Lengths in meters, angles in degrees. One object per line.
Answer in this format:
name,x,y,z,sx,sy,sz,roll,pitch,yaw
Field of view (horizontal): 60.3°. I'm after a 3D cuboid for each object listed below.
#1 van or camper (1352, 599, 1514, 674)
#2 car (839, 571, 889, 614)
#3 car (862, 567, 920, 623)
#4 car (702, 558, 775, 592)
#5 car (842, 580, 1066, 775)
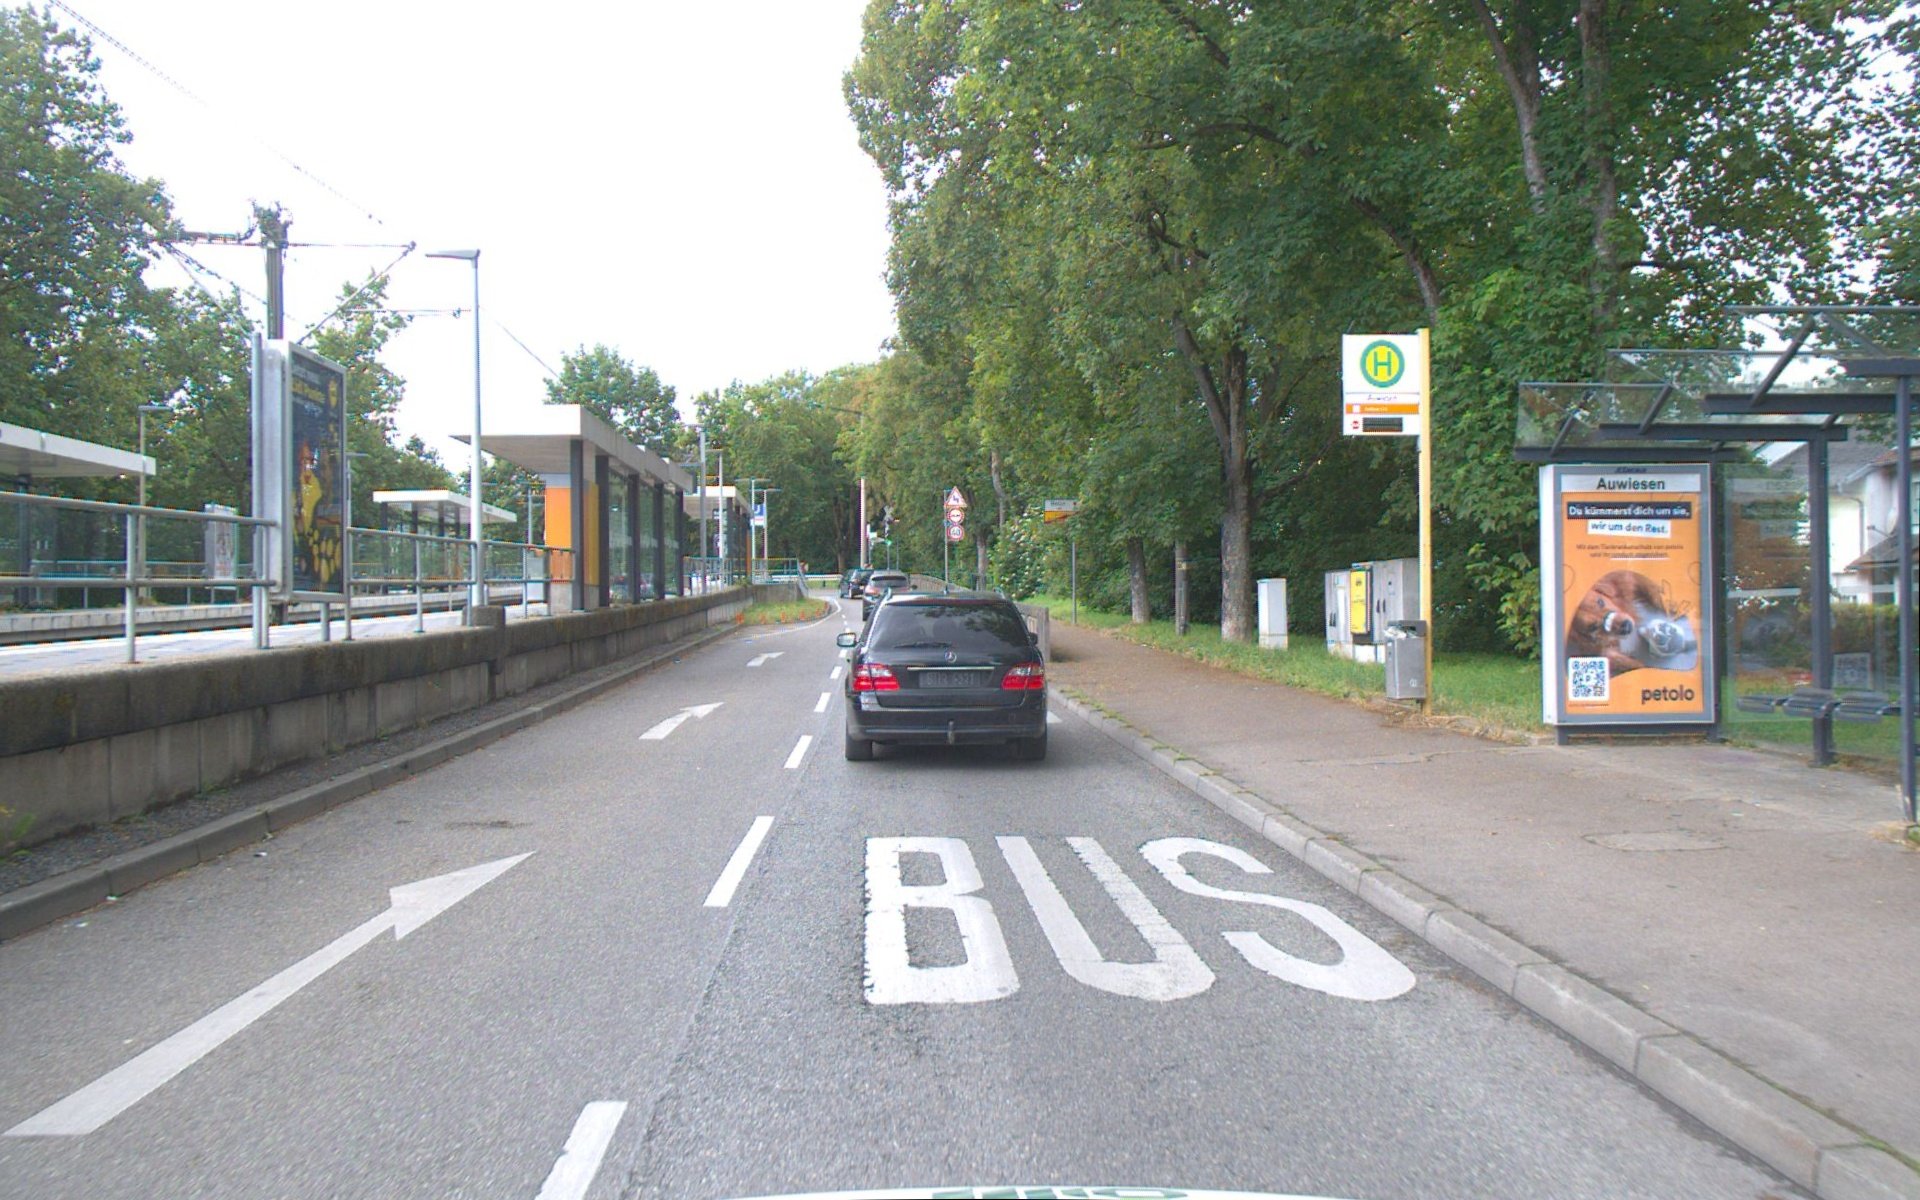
van or camper,13.881,1.022,48.945,2.139,2.049,5.823,2,0,-12
car,-4.697,-0.348,80.715,1.957,1.952,3.990,2,-1,-10
car,-2.300,-0.203,54.619,1.747,1.676,3.998,3,1,-4
car,-13.011,-1.465,97.162,3.917,1.926,1.994,1,-1,33
car,-0.185,0.602,15.355,1.747,1.552,3.996,0,1,-5
